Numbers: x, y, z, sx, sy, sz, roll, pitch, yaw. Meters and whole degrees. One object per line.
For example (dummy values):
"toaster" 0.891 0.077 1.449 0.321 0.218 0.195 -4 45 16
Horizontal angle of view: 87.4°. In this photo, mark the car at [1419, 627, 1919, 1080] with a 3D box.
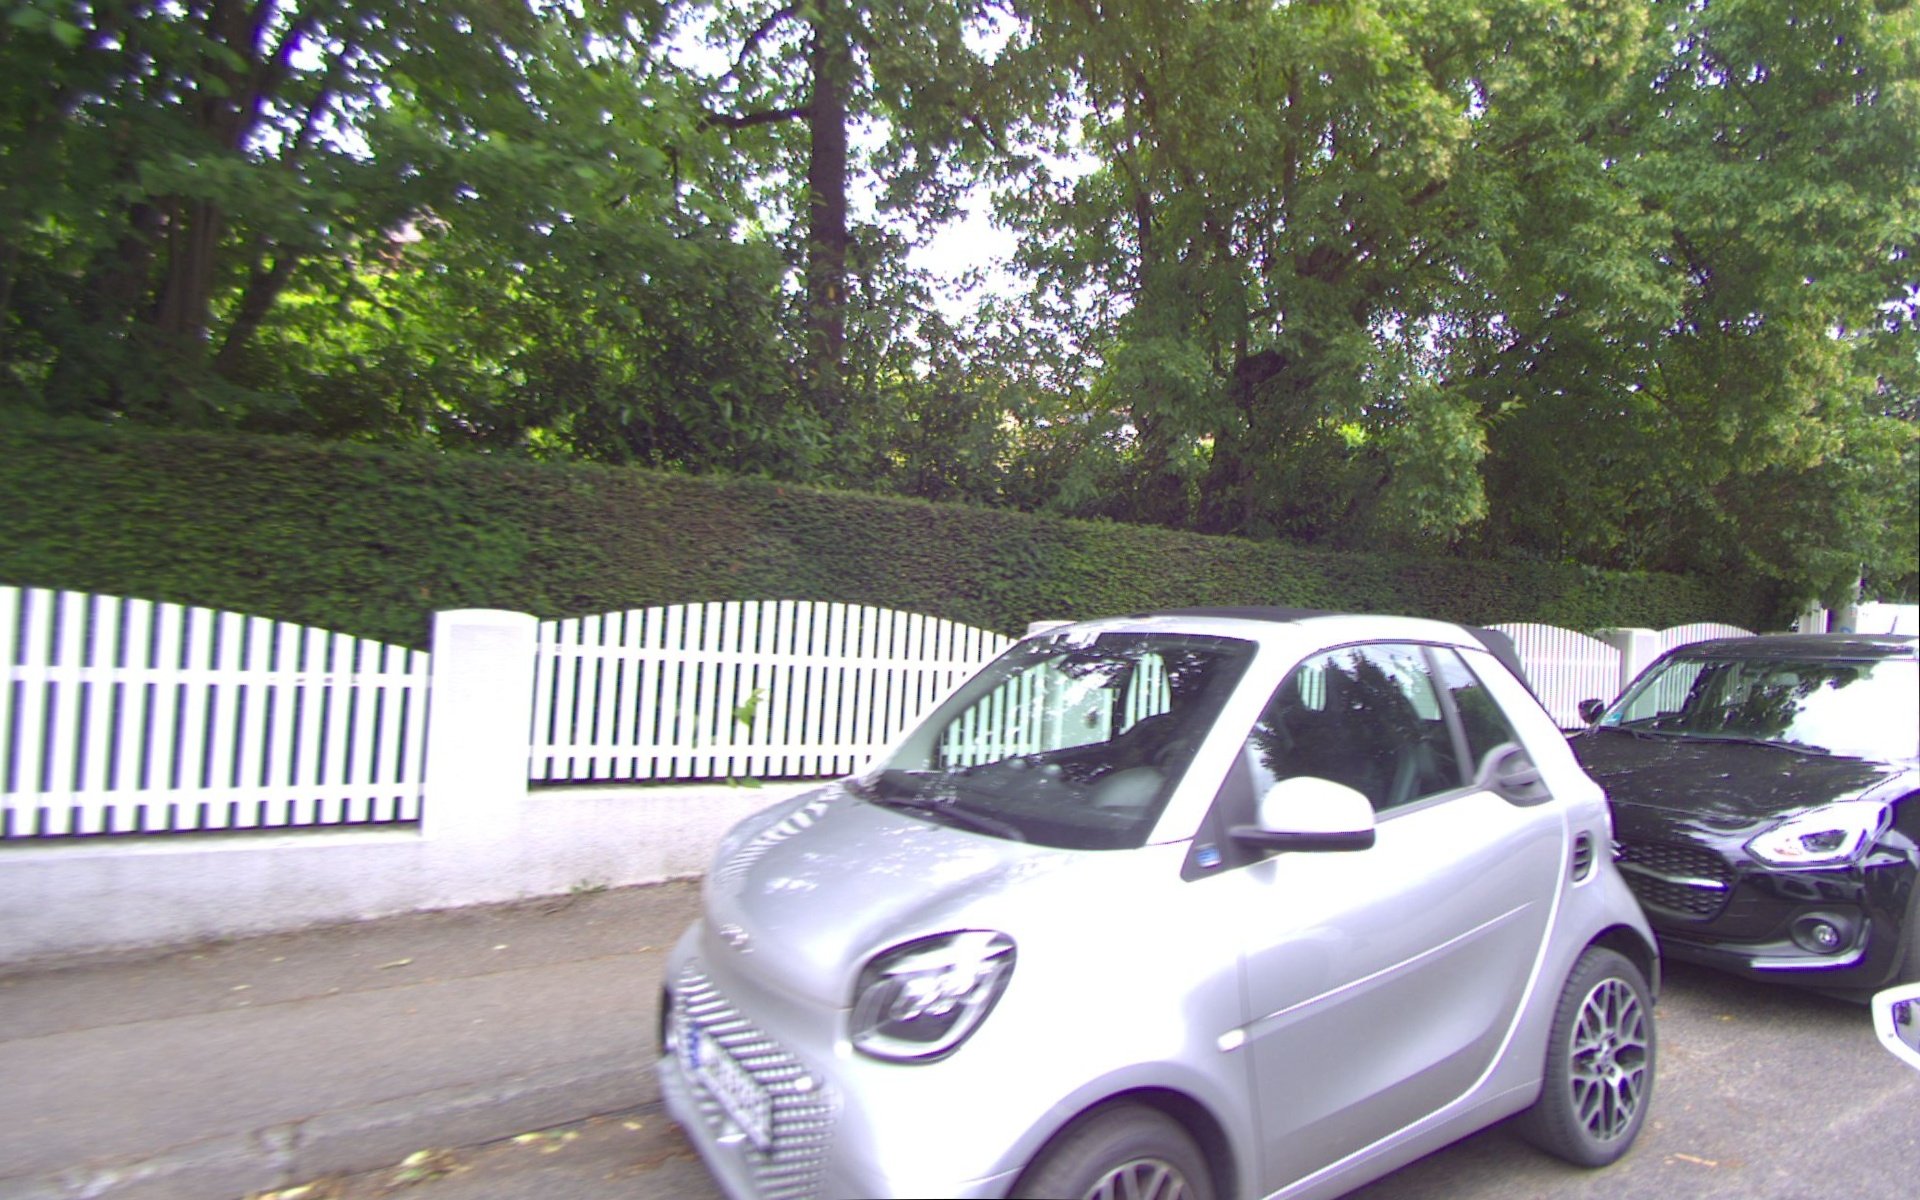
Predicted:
"car" 4.271 0.896 5.033 3.841 1.500 1.648 1 -2 -30

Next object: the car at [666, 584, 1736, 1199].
"car" 0.796 0.794 3.062 2.931 1.553 1.612 1 -2 -33
